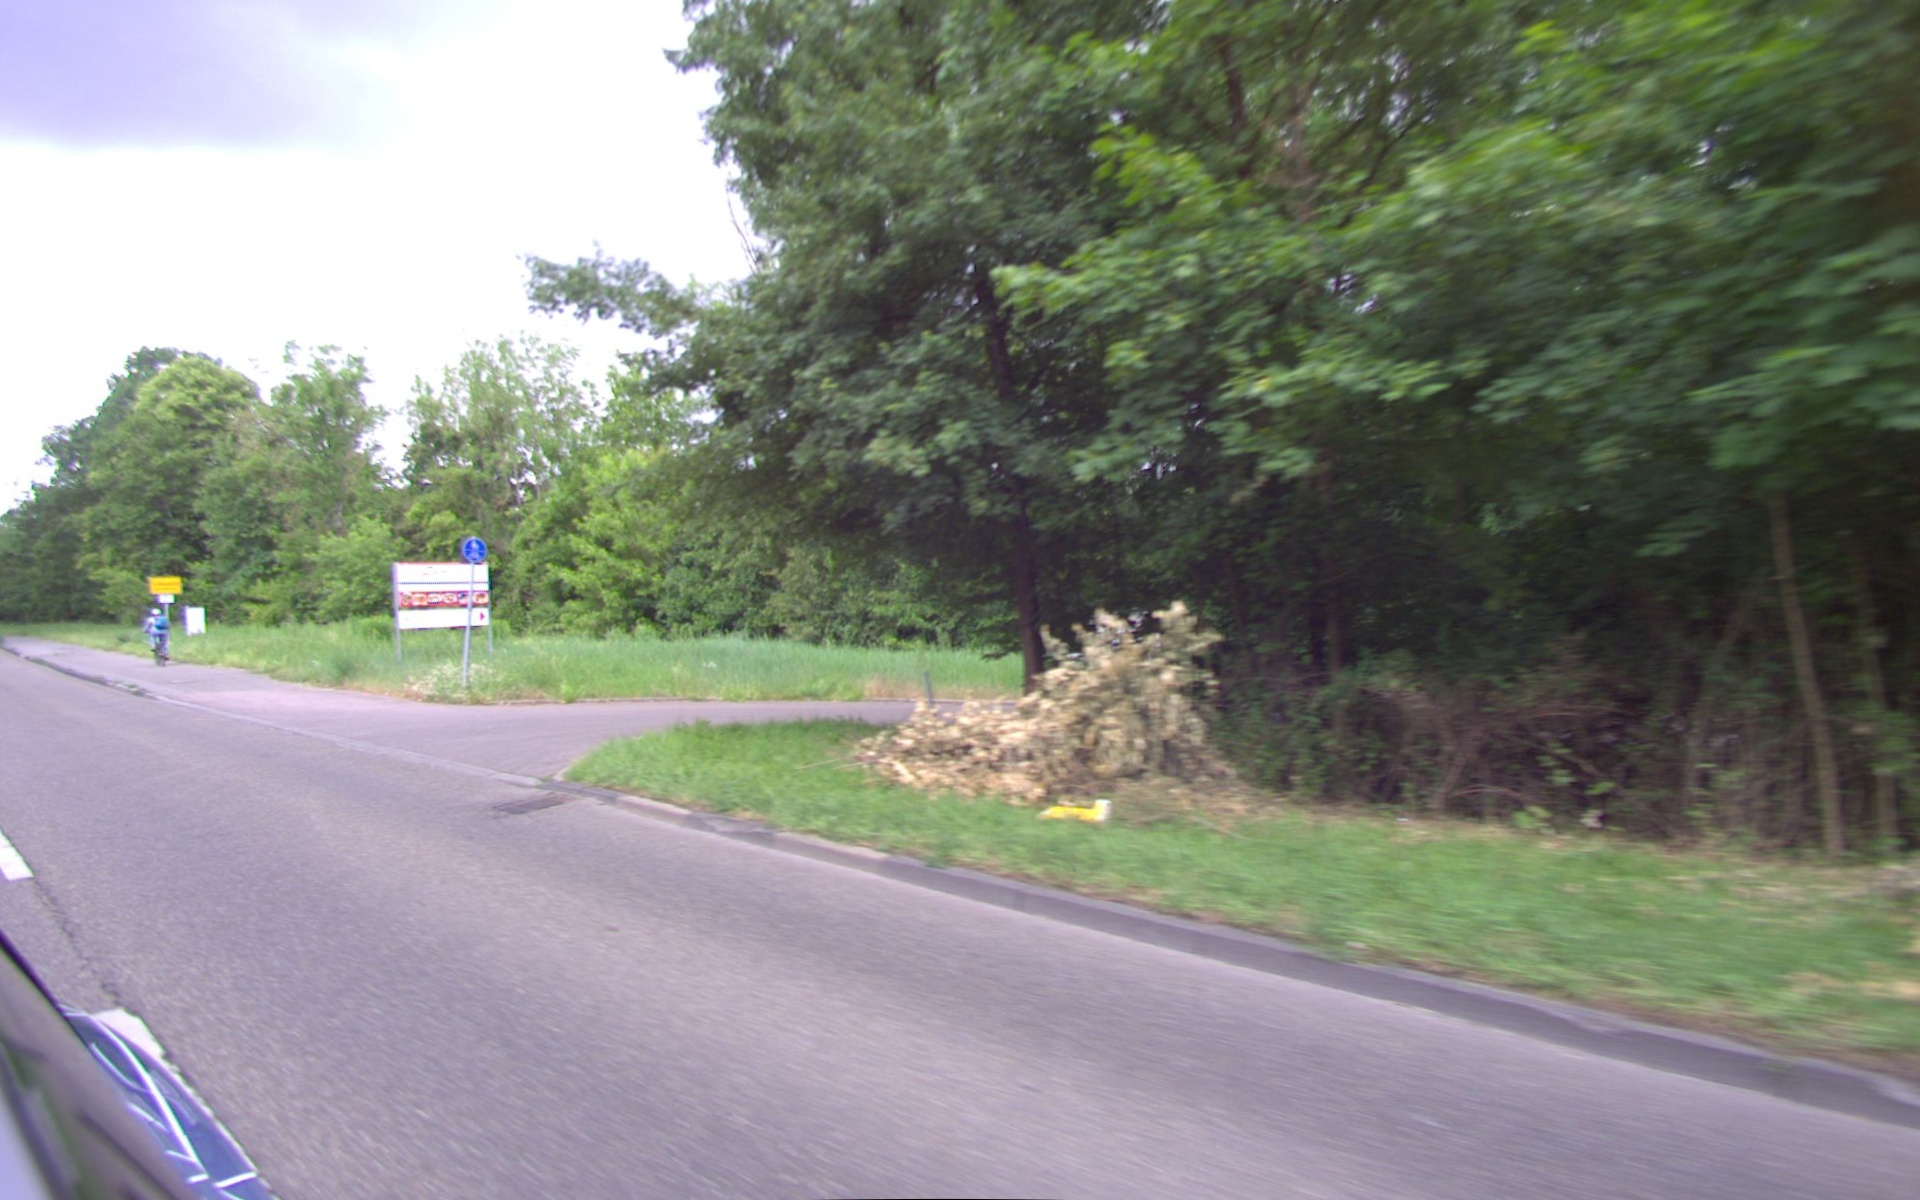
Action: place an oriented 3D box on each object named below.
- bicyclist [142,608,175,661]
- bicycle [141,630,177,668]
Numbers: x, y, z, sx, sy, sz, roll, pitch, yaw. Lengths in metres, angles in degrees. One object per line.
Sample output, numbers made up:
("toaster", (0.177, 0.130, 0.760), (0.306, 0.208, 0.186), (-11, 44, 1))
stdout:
("bicyclist", (-23.780, 1.002, 30.018), (0.657, 1.531, 1.272), (-1, -1, -44))
("bicycle", (-23.768, 1.429, 30.017), (0.657, 1.082, 2.148), (-1, -1, -43))
